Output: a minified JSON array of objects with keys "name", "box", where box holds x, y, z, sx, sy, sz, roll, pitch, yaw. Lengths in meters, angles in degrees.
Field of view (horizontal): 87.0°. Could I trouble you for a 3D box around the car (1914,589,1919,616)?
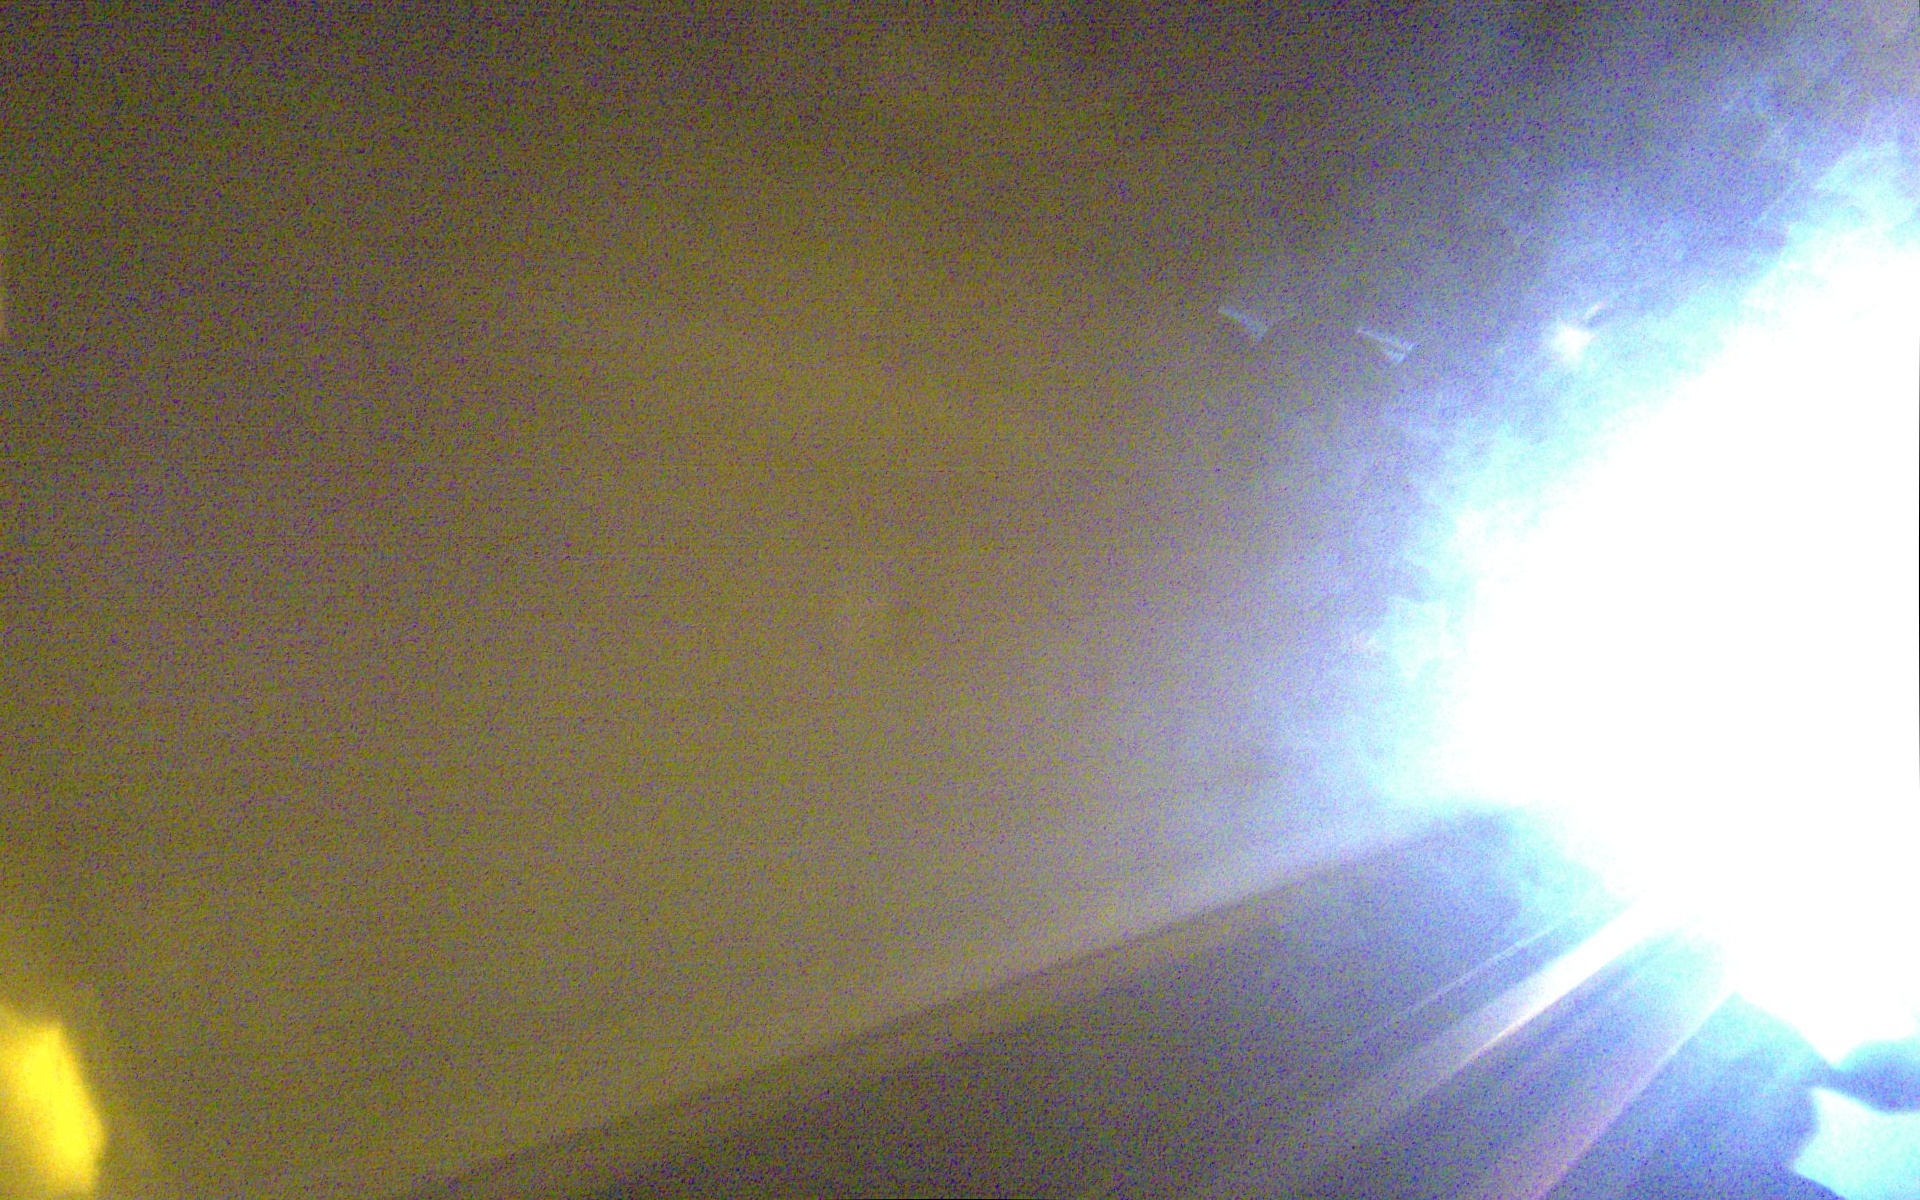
[{"name":"car","box":[65.675,0.185,67.980,1.698,1.794,3.952,-1,1,34]}]
